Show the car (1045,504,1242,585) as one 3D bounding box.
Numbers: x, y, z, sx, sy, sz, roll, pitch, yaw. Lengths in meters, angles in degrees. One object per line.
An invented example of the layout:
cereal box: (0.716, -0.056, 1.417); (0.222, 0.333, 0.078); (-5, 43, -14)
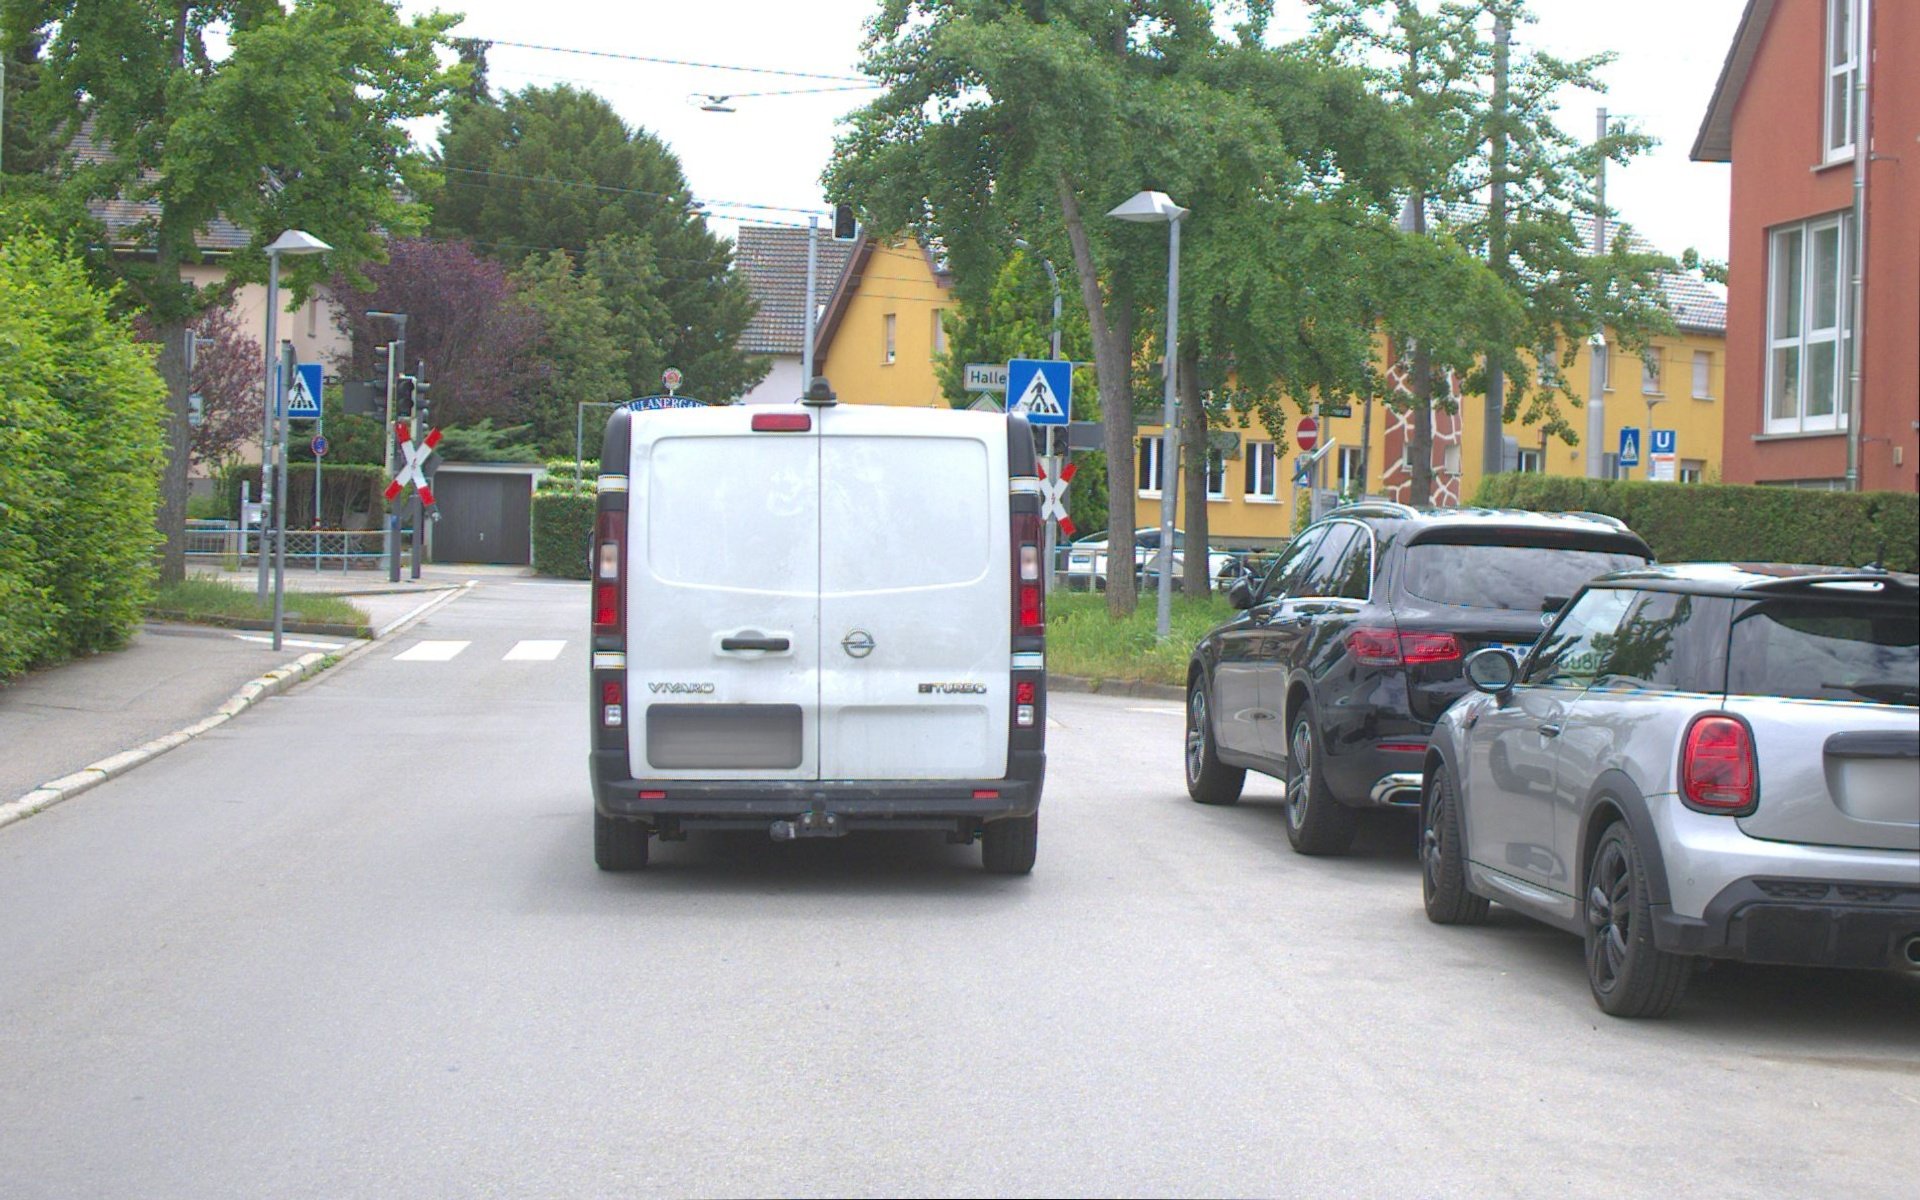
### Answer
car: (4.083, -1.230, 76.473); (3.919, 1.531, 1.920); (3, 1, -33)

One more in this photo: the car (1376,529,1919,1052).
car: (2.725, 0.559, 11.921); (1.741, 1.489, 3.656); (3, 1, -5)

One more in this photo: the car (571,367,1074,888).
car: (-0.691, 0.037, 15.515); (1.915, 1.995, 4.439); (1, 2, -4)

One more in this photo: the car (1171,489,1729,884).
car: (2.247, 0.326, 16.936); (1.702, 1.609, 4.259); (3, 1, -5)
